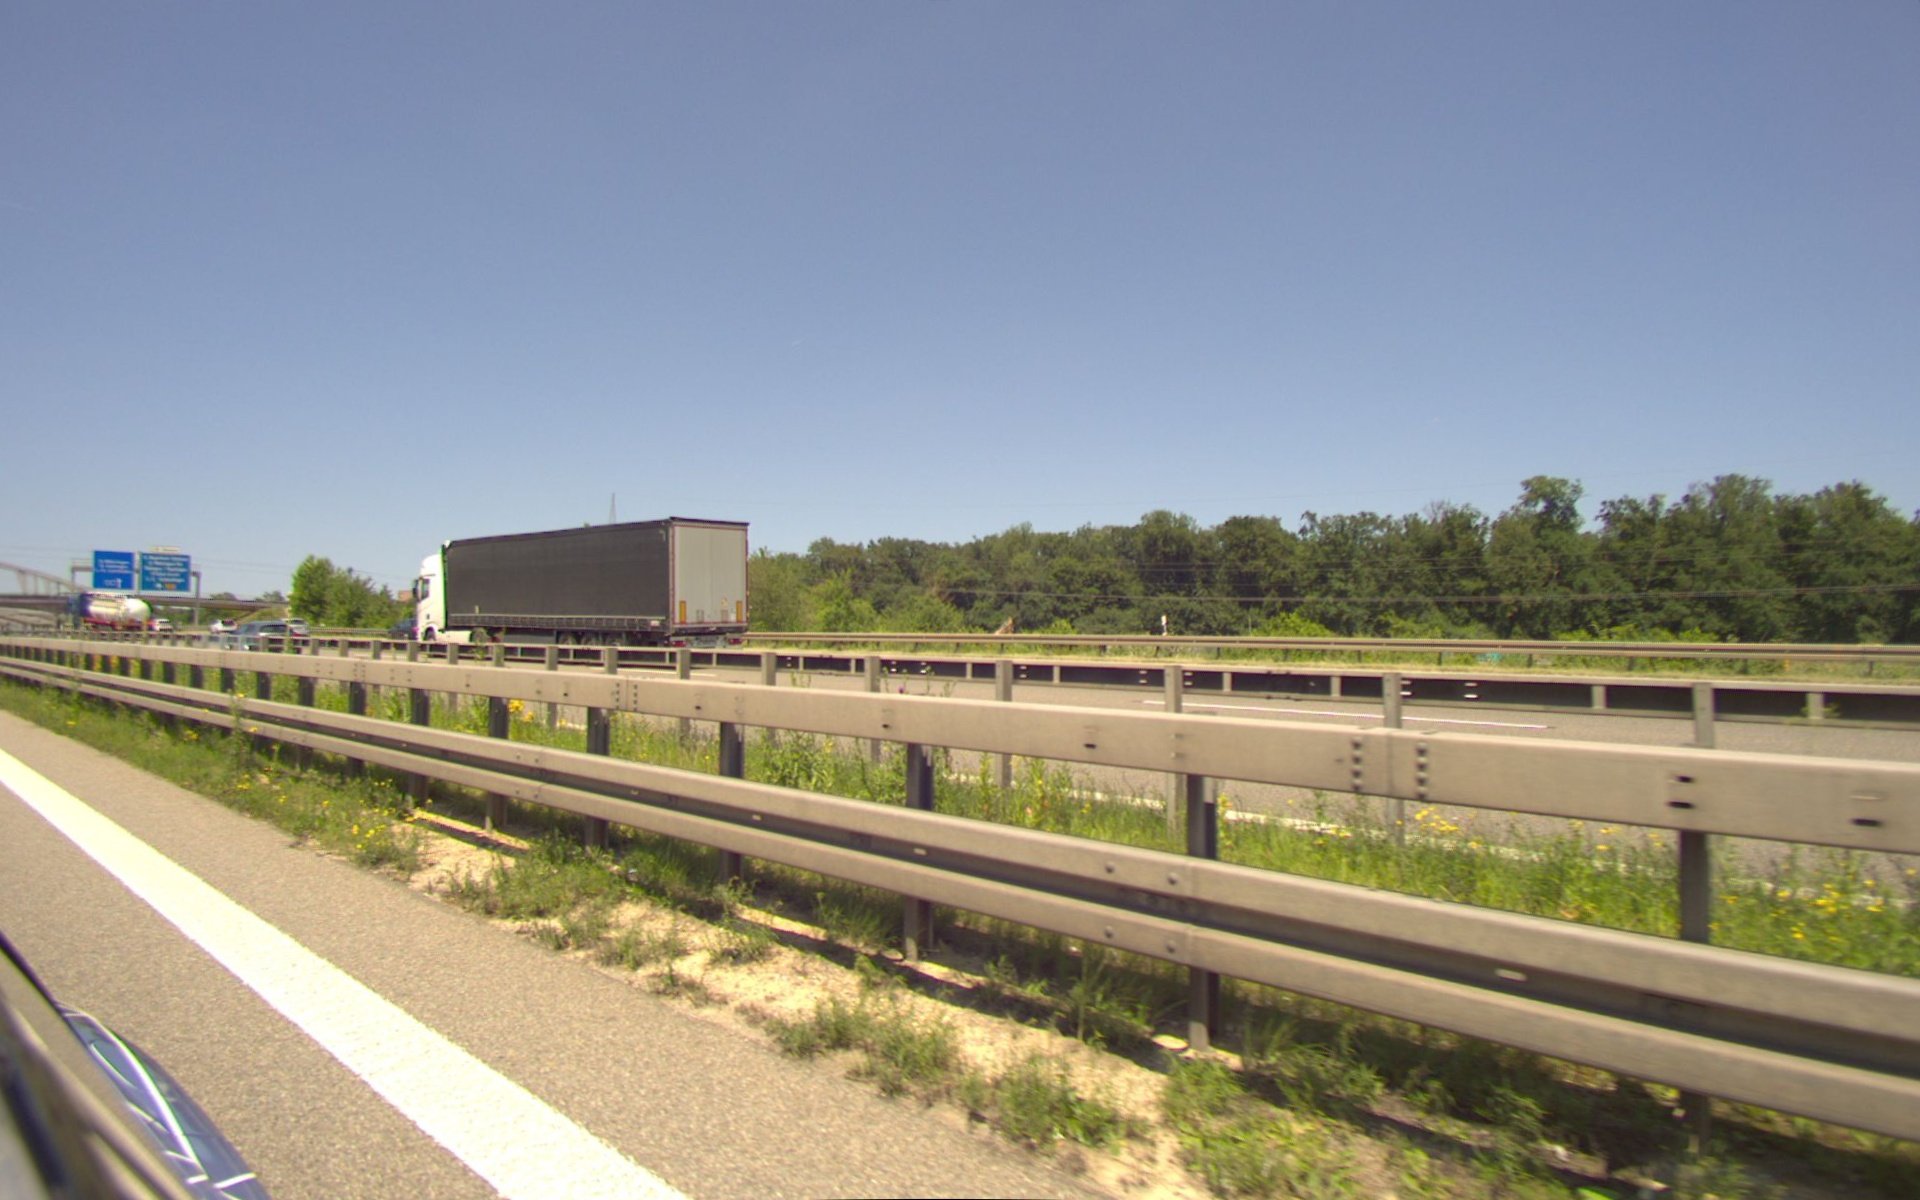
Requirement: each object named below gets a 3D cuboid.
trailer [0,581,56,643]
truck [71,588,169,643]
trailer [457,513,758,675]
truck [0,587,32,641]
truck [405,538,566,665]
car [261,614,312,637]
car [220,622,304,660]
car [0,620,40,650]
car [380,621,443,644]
[{"bbox_3d":[-70.729,0.909,75.788,10.721,4.405,2.926,-1,-1,39],"label":"trailer"},{"bbox_3d":[-62.347,1.189,74.920,12.887,3.814,3.187,-1,-1,39],"label":"truck"},{"bbox_3d":[-11.299,-0.054,31.144,12.578,4.144,2.860,-1,-1,41],"label":"trailer"},{"bbox_3d":[-76.750,1.154,80.758,7.590,4.151,2.938,-1,-1,39],"label":"truck"},{"bbox_3d":[-17.026,0.096,36.123,6.380,4.148,2.851,-1,-1,41],"label":"truck"},{"bbox_3d":[-46.055,1.753,69.189,4.436,1.457,1.733,-1,-1,40],"label":"car"},{"bbox_3d":[-27.757,1.604,40.216,4.495,1.371,1.688,-1,-1,41],"label":"car"},{"bbox_3d":[-54.458,2.005,58.164,4.407,1.610,1.828,-1,-1,41],"label":"car"},{"bbox_3d":[-33.546,1.988,61.850,4.659,1.325,1.812,-1,-1,40],"label":"car"}]
